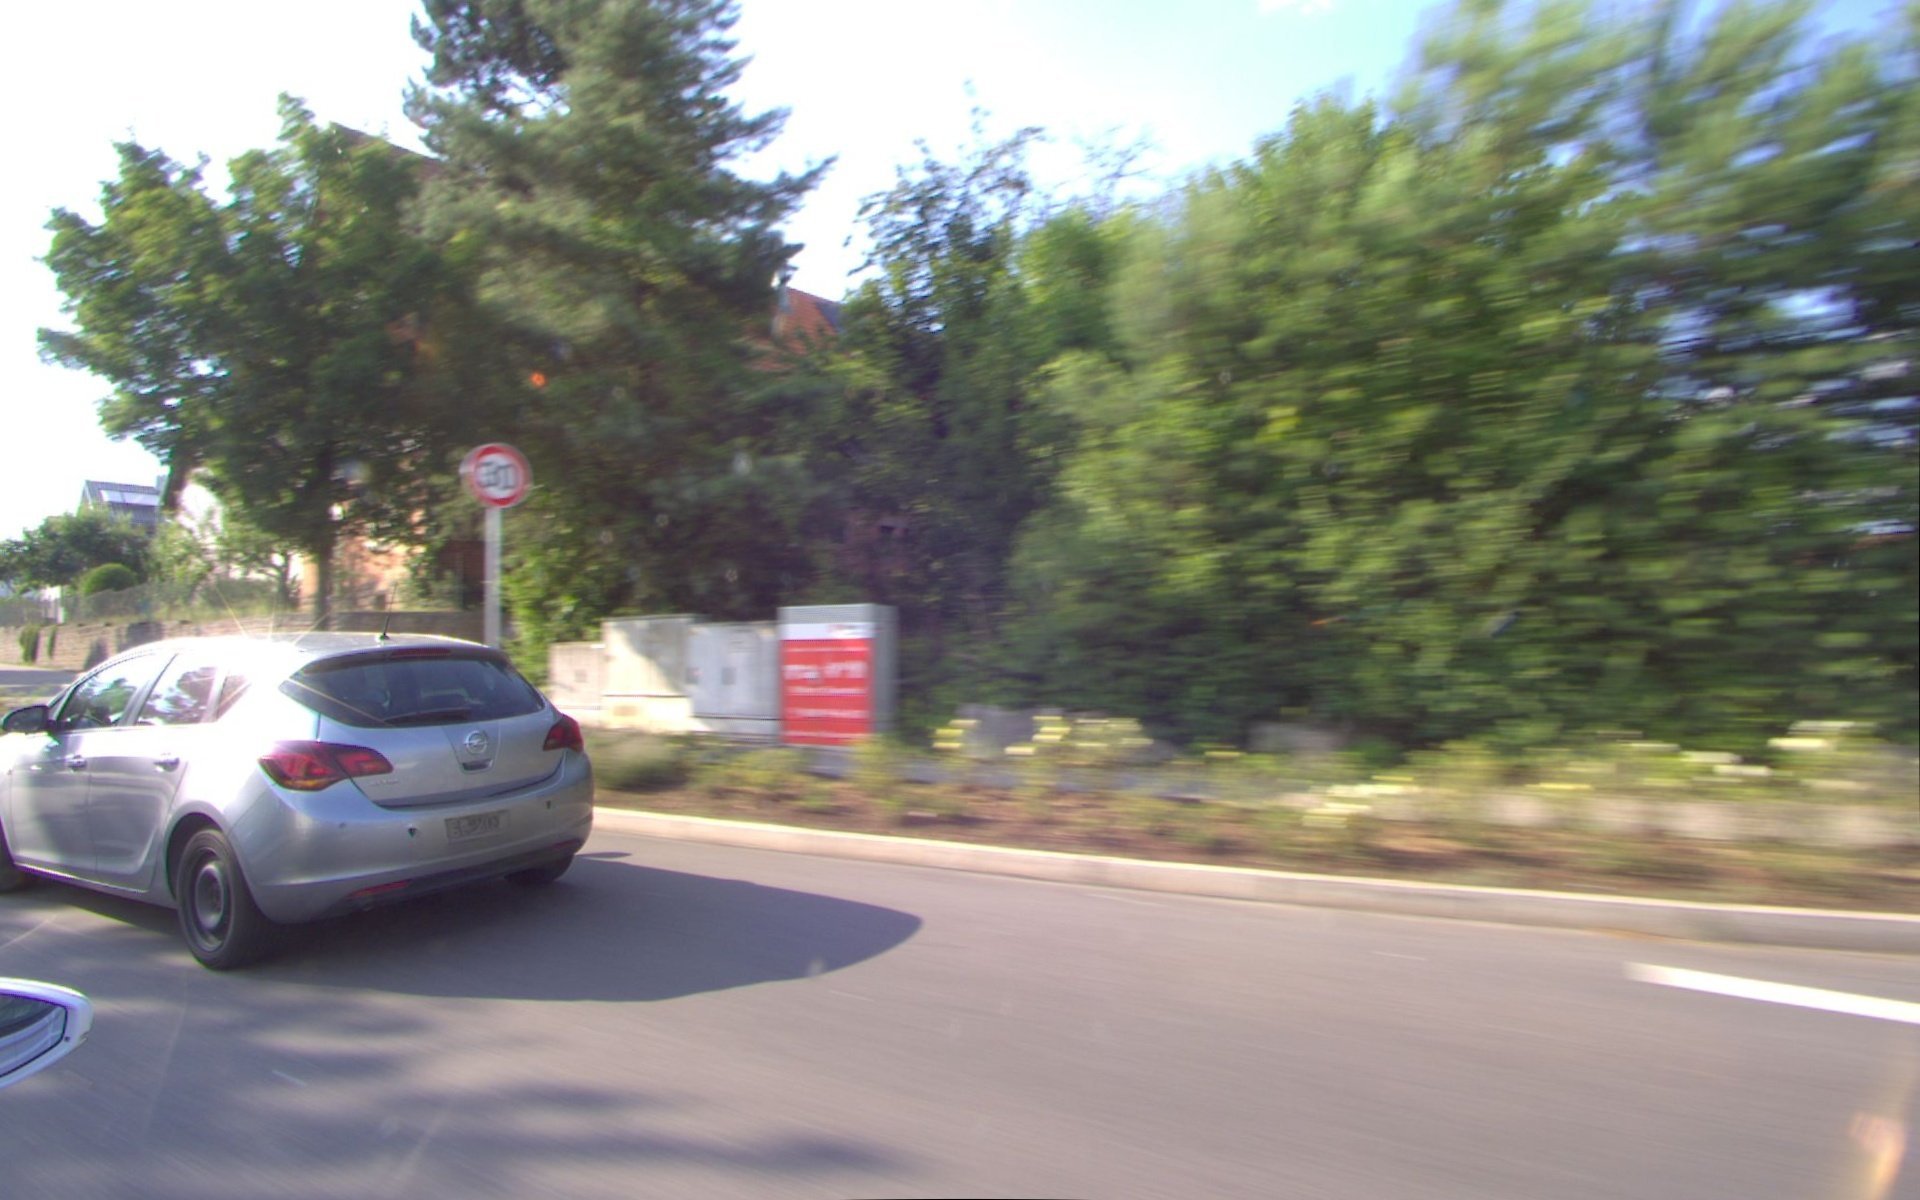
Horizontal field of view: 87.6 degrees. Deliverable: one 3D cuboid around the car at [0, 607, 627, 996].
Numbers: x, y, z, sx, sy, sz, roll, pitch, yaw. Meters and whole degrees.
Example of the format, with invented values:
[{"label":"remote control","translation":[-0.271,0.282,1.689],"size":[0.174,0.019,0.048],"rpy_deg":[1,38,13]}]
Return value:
[{"label":"car","translation":[-4.028,0.809,5.732],"size":[4.243,1.510,1.718],"rpy_deg":[0,-1,31]}]
